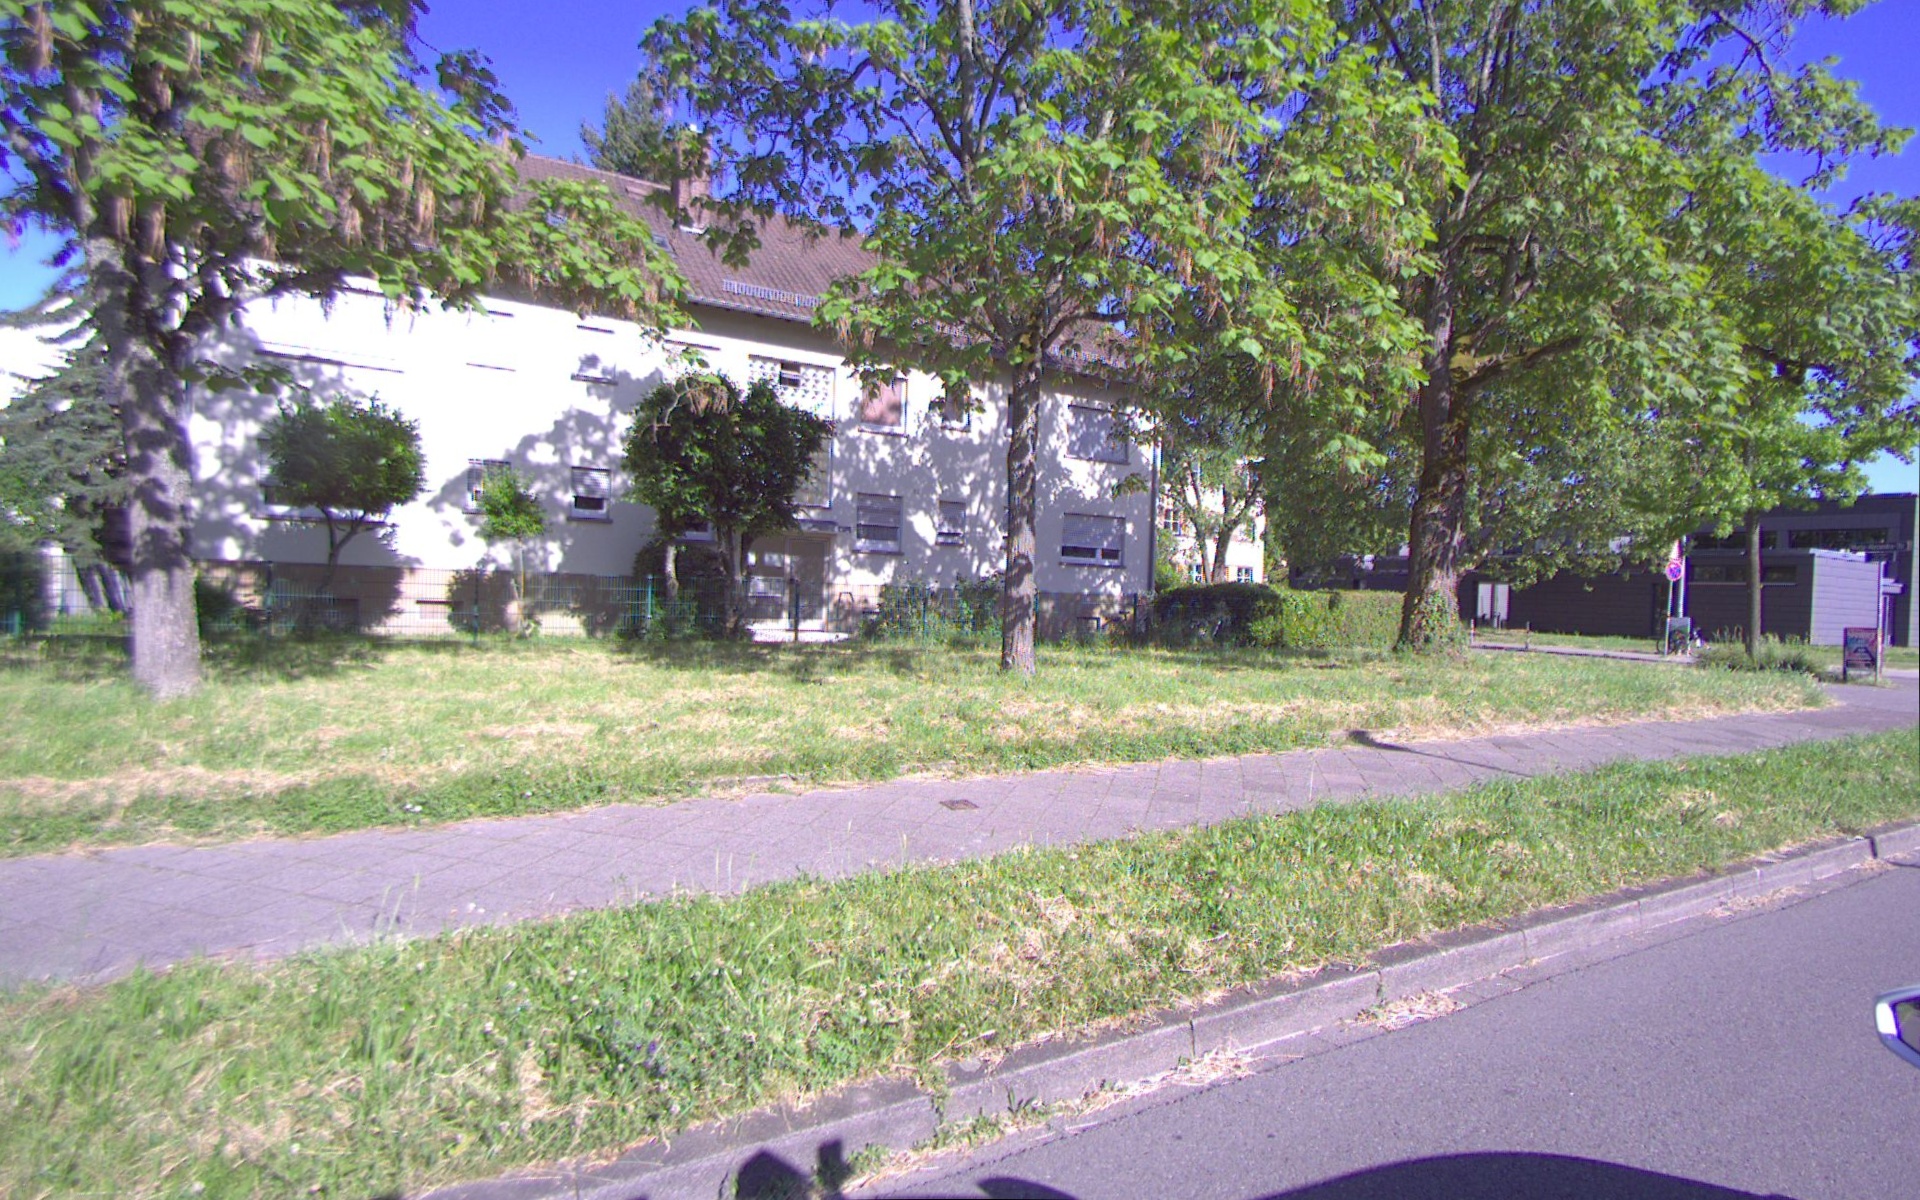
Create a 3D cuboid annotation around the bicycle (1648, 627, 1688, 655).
[{"bbox_3d":[24.025,1.382,34.082,0.999,0.899,0.440,0,1,16],"label":"bicycle"}]
